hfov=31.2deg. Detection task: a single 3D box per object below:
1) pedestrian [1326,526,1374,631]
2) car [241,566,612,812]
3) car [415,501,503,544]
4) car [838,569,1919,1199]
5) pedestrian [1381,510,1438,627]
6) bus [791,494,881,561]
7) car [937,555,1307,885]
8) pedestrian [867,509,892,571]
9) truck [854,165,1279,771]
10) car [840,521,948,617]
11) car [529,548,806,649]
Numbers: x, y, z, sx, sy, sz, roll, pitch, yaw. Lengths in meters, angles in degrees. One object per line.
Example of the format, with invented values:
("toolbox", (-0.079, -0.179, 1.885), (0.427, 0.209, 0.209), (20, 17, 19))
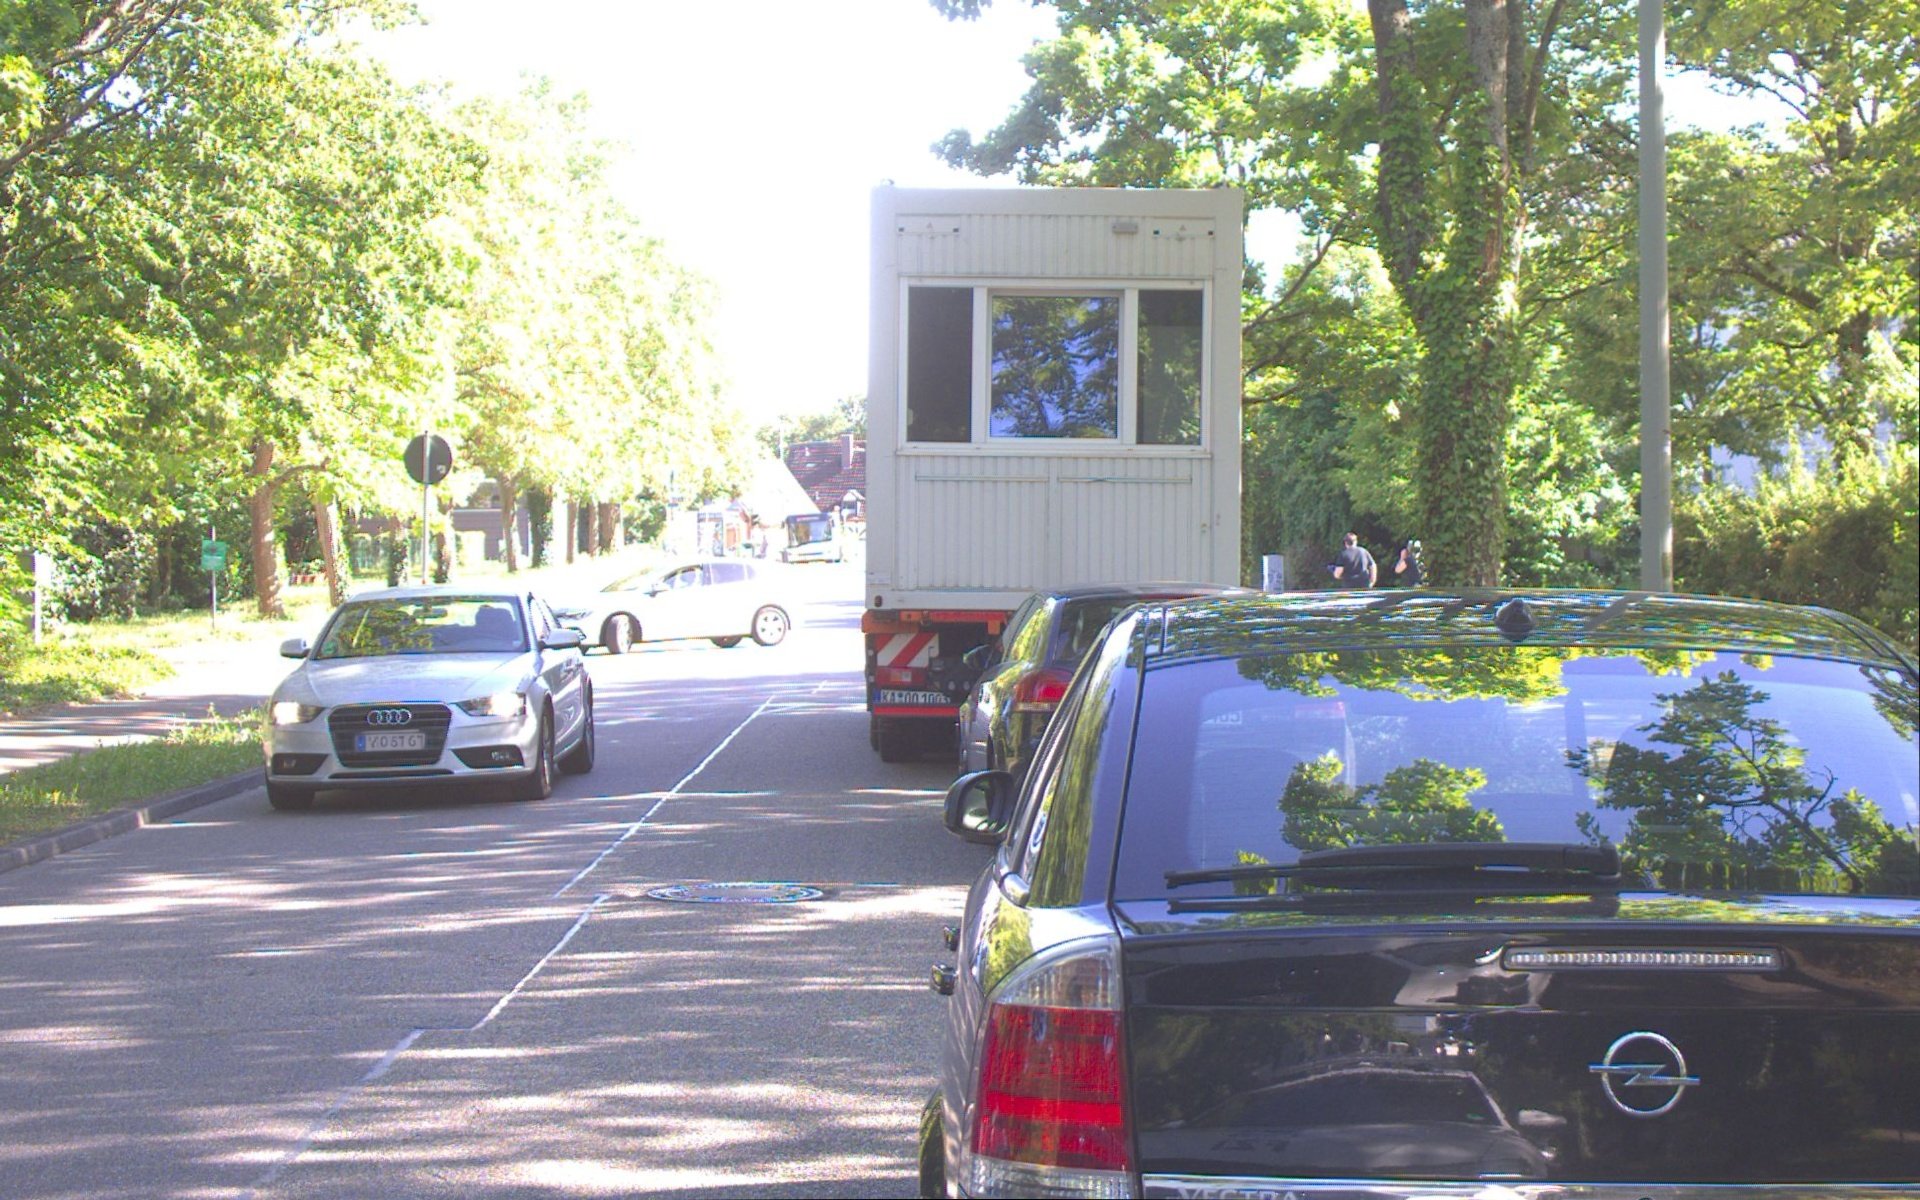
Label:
("pedestrian", (6.091, -0.341, 53.711), (0.598, 1.605, 0.600), (-2, 1, -3))
("car", (-3.513, 0.531, 23.363), (1.787, 1.412, 4.104), (-2, 1, 1))
("car", (-24.998, -3.872, 171.671), (3.987, 2.007, 2.000), (-2, 1, 1))
("car", (0.782, 0.689, 5.804), (1.748, 1.475, 4.030), (0, 0, 1))
("pedestrian", (7.024, -0.497, 53.740), (0.698, 1.806, 0.700), (-2, 1, -3))
("bus", (-6.551, -3.875, 182.805), (4.065, 3.337, 9.800), (-2, 1, 2))
("car", (0.793, 0.524, 17.728), (1.640, 1.415, 4.000), (-2, 1, 2))
("pedestrian", (-2.782, -2.067, 118.486), (0.752, 2.106, 0.799), (1, 1, 2))
("truck", (0.597, -0.977, 27.972), (2.773, 3.982, 10.349), (1, 1, -1))
("car", (-1.343, -0.629, 68.335), (1.946, 1.836, 4.001), (-1, 1, -4))
("car", (-4.652, -0.039, 54.675), (3.946, 1.415, 1.812), (-3, 1, -27))
